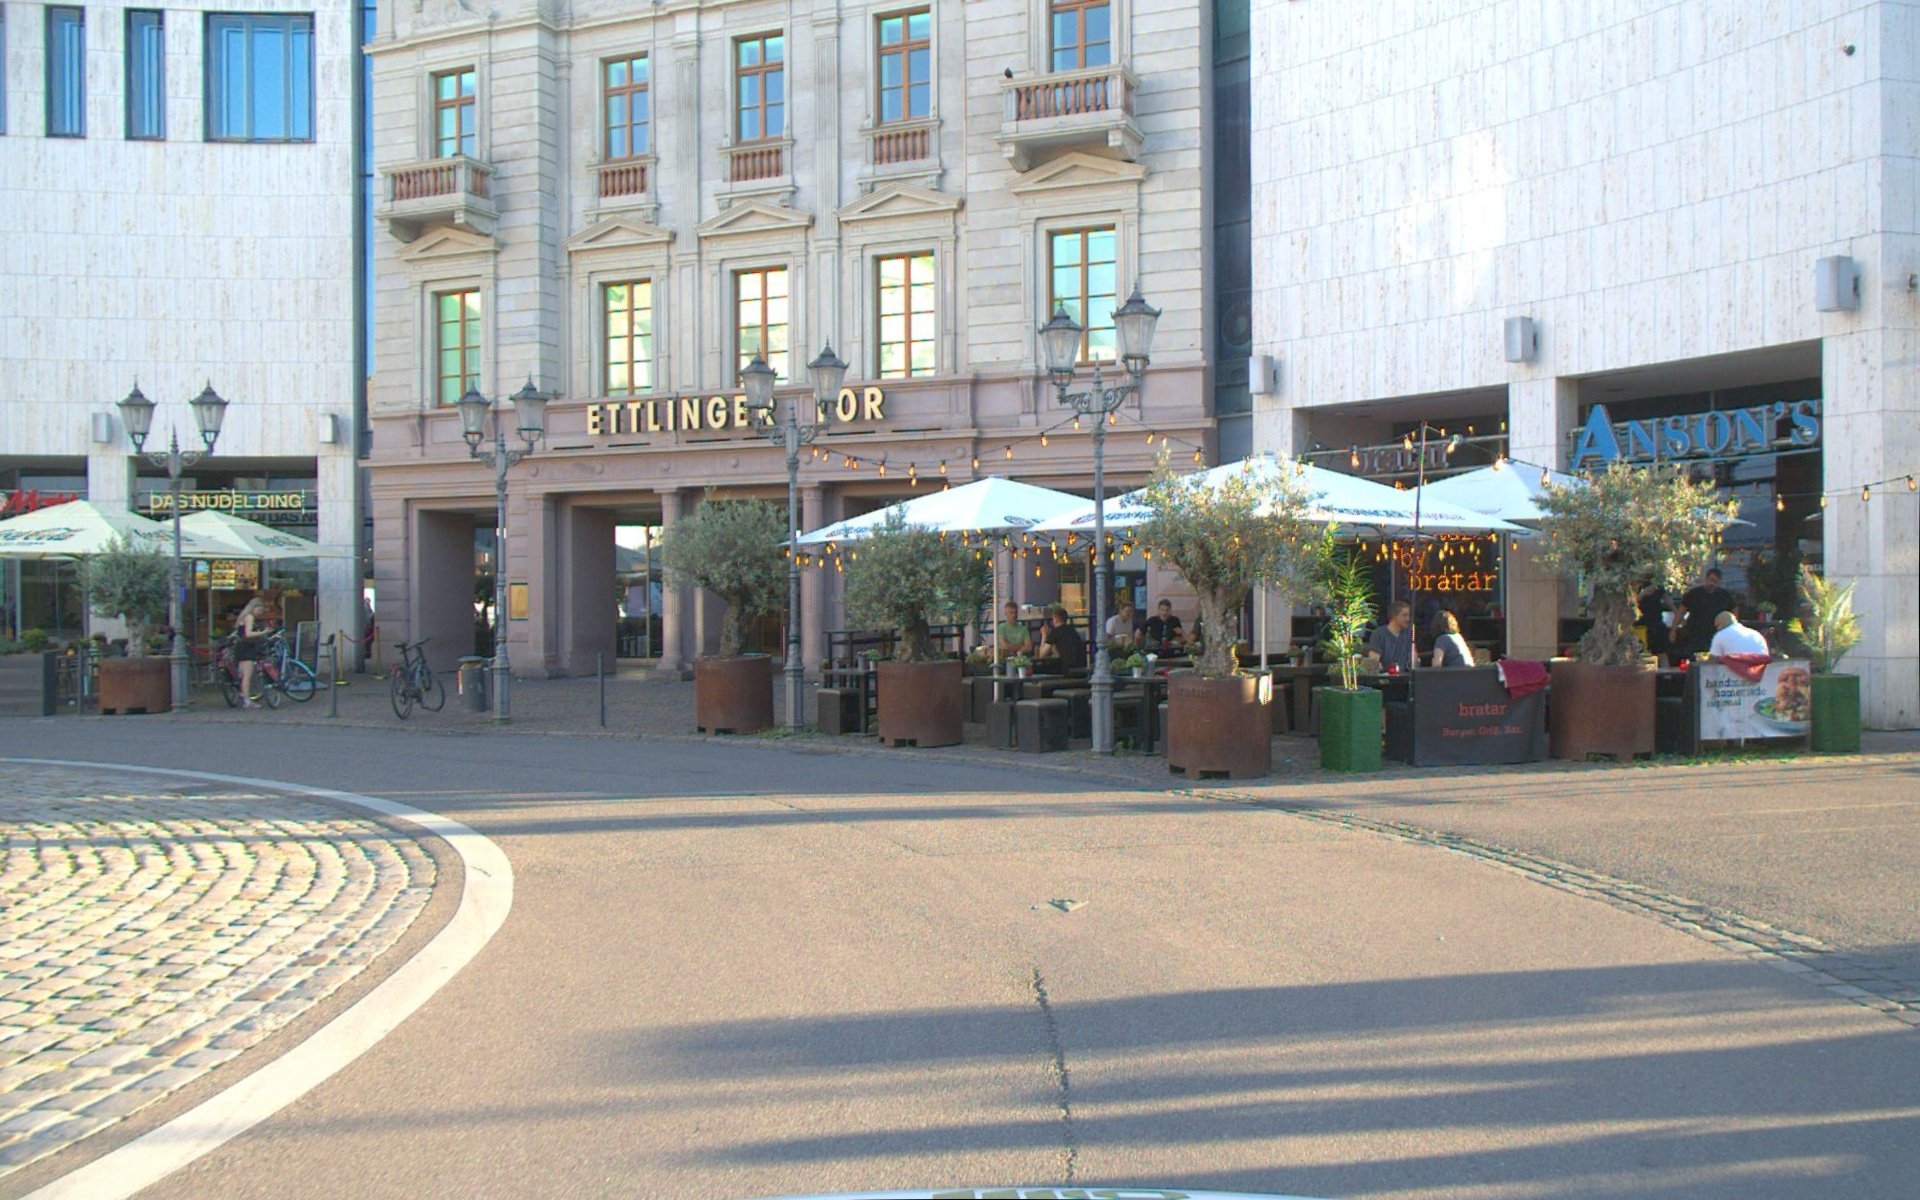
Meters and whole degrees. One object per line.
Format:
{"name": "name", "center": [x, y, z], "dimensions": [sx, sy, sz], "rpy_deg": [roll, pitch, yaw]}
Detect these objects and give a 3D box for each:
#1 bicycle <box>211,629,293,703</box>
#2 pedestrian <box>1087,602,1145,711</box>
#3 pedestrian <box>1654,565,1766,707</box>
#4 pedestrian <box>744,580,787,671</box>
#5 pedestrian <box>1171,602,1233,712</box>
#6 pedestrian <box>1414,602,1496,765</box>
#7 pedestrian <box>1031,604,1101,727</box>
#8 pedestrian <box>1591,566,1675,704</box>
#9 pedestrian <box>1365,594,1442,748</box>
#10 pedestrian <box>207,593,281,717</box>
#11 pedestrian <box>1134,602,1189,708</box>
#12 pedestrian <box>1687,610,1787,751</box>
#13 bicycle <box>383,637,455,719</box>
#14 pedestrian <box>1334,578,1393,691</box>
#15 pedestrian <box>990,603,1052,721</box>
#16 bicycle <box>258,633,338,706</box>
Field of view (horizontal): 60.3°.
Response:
{"name": "bicycle", "center": [-10.841, 0.993, 25.381], "dimensions": [0.587, 1.050, 1.645], "rpy_deg": [0, 0, -2]}
{"name": "pedestrian", "center": [2.225, 0.792, 23.578], "dimensions": [0.583, 1.504, 0.619], "rpy_deg": [-1, 0, -26]}
{"name": "pedestrian", "center": [9.144, 0.417, 20.174], "dimensions": [0.917, 1.676, 0.860], "rpy_deg": [-1, 0, -26]}
{"name": "pedestrian", "center": [-3.774, 0.487, 32.099], "dimensions": [0.610, 1.759, 0.545], "rpy_deg": [-1, 0, 28]}
{"name": "pedestrian", "center": [3.383, 0.778, 23.089], "dimensions": [0.613, 1.504, 0.621], "rpy_deg": [0, 0, 42]}
{"name": "pedestrian", "center": [4.704, 0.779, 15.744], "dimensions": [0.520, 1.504, 0.560], "rpy_deg": [0, 0, -17]}
{"name": "pedestrian", "center": [1.334, 0.811, 20.870], "dimensions": [0.582, 1.504, 0.675], "rpy_deg": [-1, 0, -34]}
{"name": "pedestrian", "center": [8.371, 0.426, 20.587], "dimensions": [0.685, 1.676, 0.686], "rpy_deg": [-1, 0, -26]}
{"name": "pedestrian", "center": [4.427, 0.693, 16.524], "dimensions": [0.520, 1.504, 0.559], "rpy_deg": [0, 0, -19]}
{"name": "pedestrian", "center": [-10.394, 0.776, 23.996], "dimensions": [0.895, 1.759, 0.841], "rpy_deg": [-1, 0, -29]}
{"name": "pedestrian", "center": [2.922, 0.782, 24.022], "dimensions": [0.537, 1.504, 0.619], "rpy_deg": [-1, 0, -26]}
{"name": "pedestrian", "center": [7.611, 0.772, 16.212], "dimensions": [0.539, 1.333, 0.721], "rpy_deg": [0, 0, -18]}
{"name": "bicycle", "center": [-7.525, 1.064, 23.048], "dimensions": [0.496, 1.050, 1.645], "rpy_deg": [0, 0, -2]}
{"name": "pedestrian", "center": [6.422, 0.531, 26.327], "dimensions": [0.613, 1.751, 0.682], "rpy_deg": [0, 1, -42]}
{"name": "pedestrian", "center": [0.792, 0.800, 21.615], "dimensions": [0.539, 1.504, 0.616], "rpy_deg": [-1, 0, -36]}
{"name": "bicycle", "center": [-10.163, 1.055, 25.458], "dimensions": [0.607, 1.050, 1.645], "rpy_deg": [0, 0, -2]}
